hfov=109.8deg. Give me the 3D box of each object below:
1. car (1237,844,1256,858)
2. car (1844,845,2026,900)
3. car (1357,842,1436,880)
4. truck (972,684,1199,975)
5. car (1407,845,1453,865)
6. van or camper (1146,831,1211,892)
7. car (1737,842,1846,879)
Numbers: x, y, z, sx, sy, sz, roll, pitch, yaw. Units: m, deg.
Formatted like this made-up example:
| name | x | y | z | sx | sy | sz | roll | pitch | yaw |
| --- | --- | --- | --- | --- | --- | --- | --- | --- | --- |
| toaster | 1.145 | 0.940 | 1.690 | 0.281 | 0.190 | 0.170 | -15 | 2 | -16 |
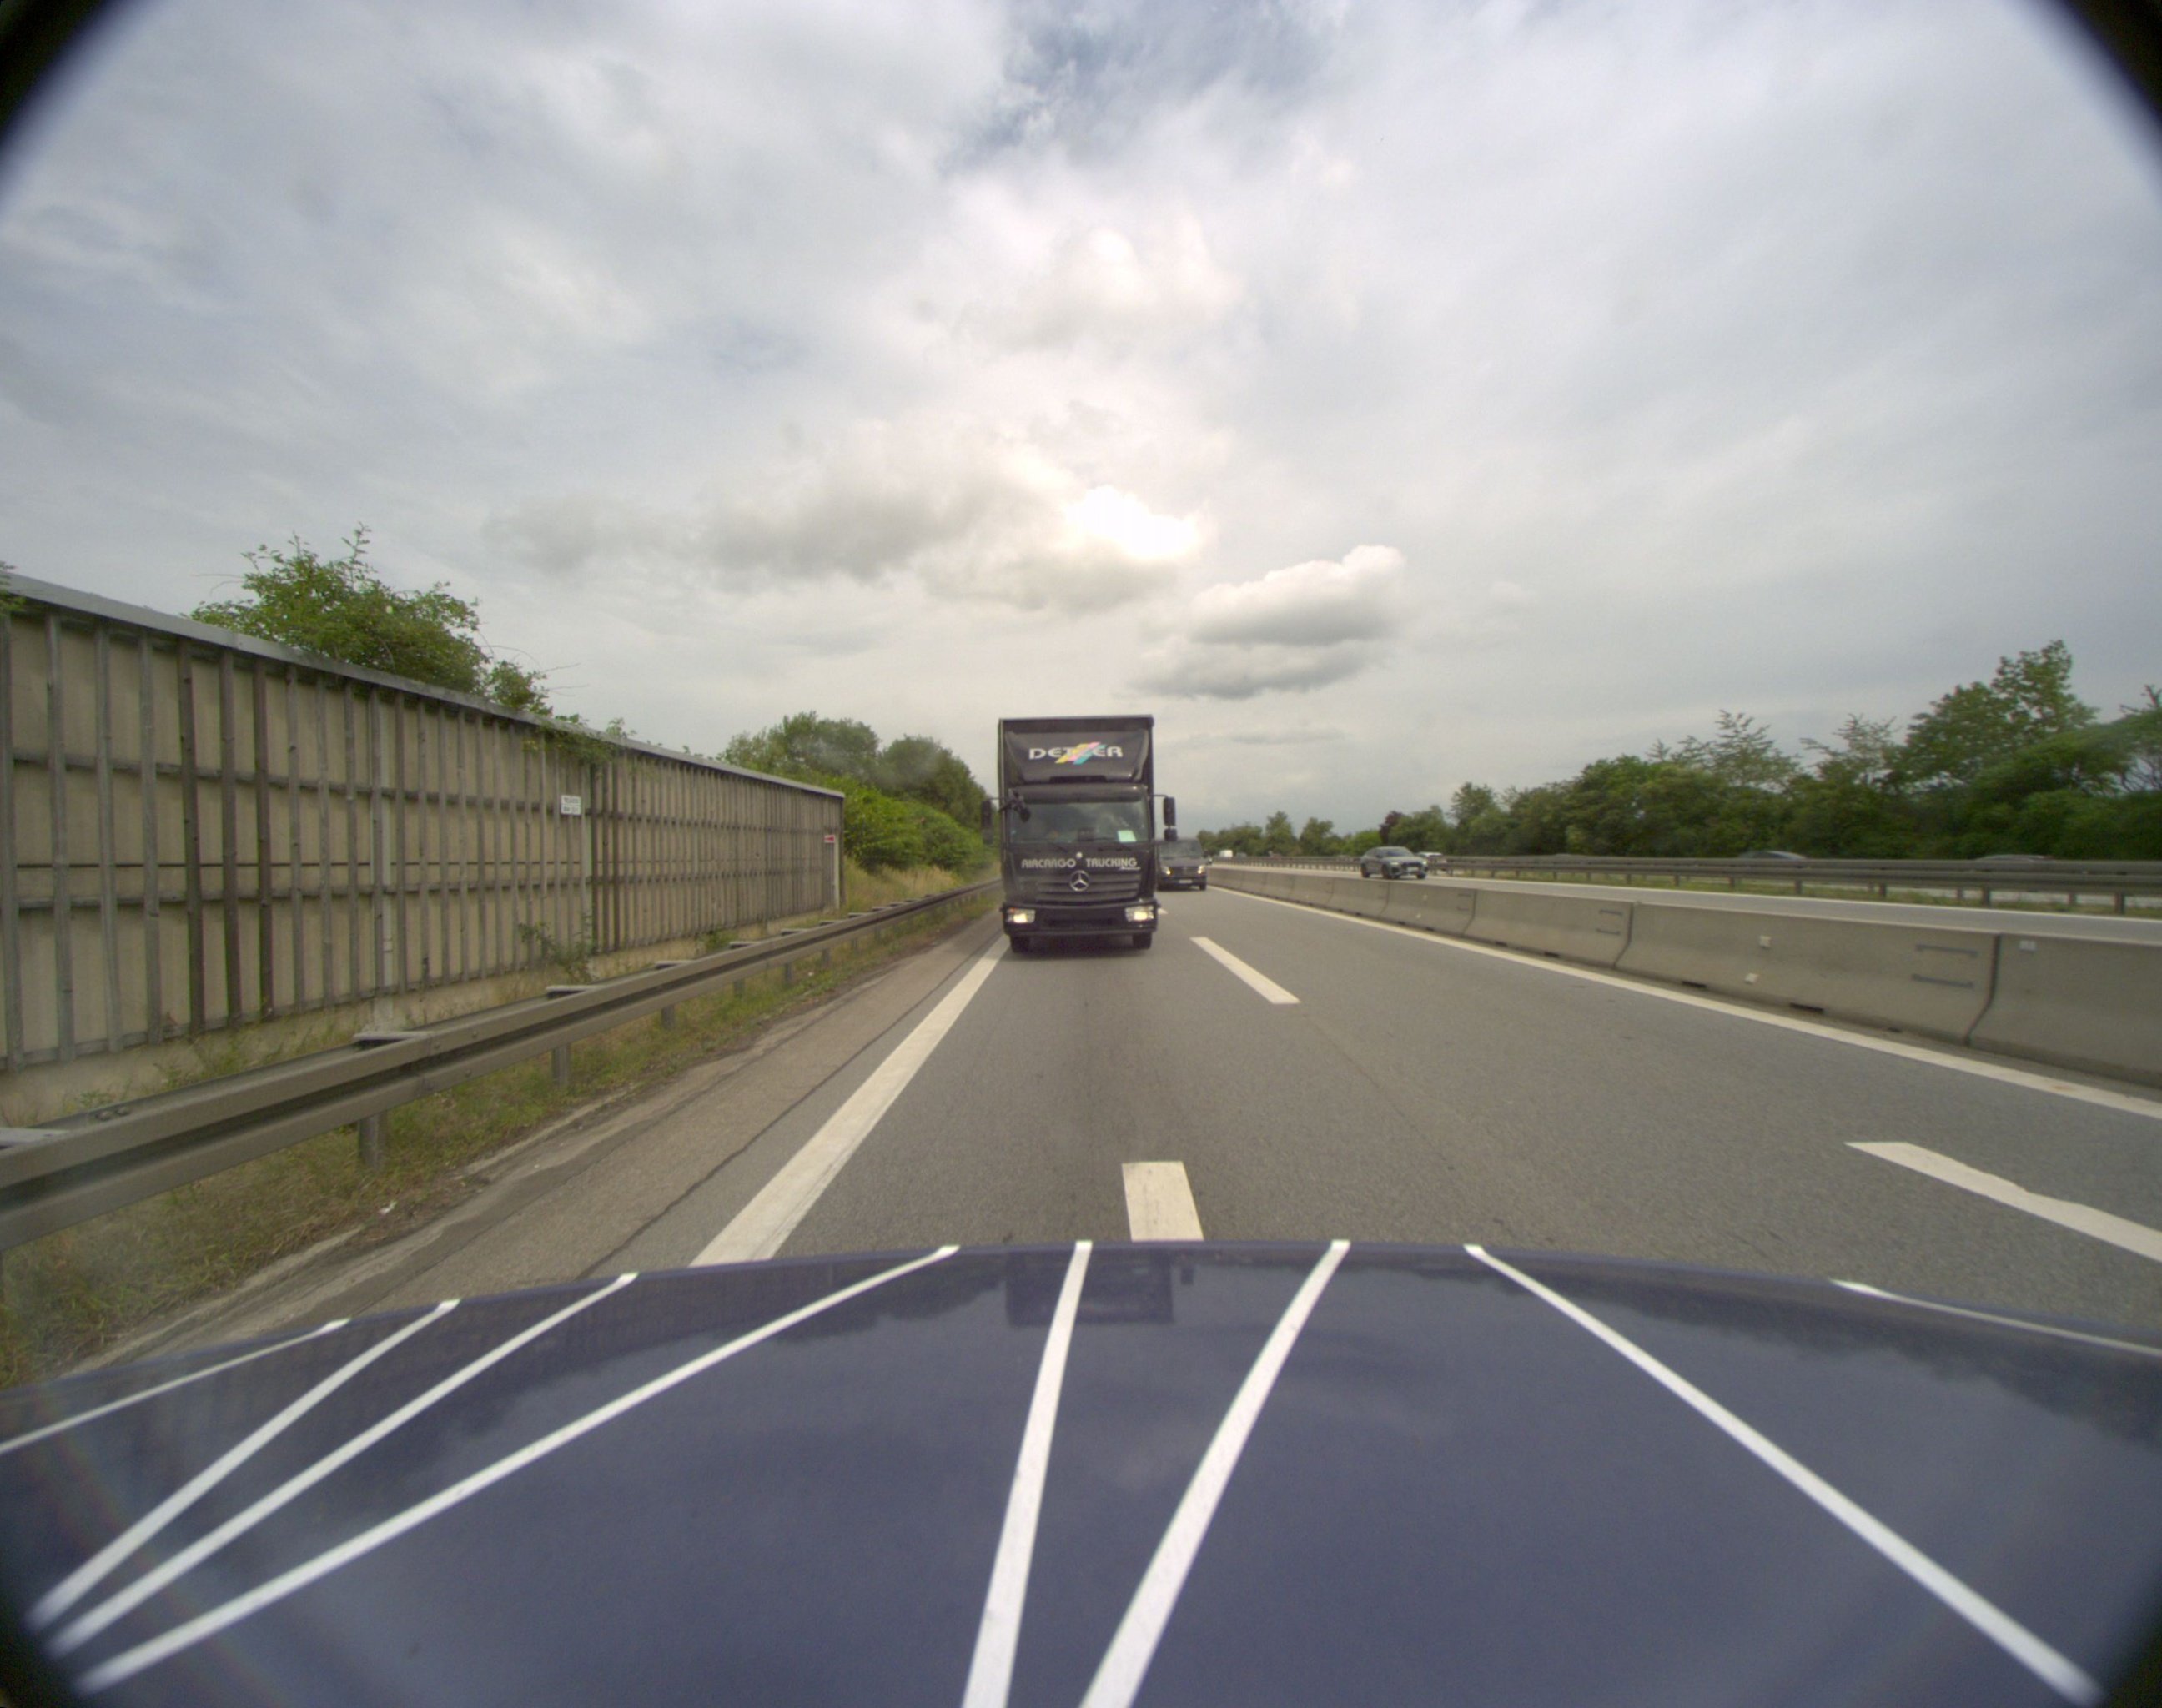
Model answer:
| name | x | y | z | sx | sy | sz | roll | pitch | yaw |
| --- | --- | --- | --- | --- | --- | --- | --- | --- | --- |
| car | 24.037 | -0.413 | 110.614 | 1.998 | 1.958 | 4.000 | -1 | 0 | 2 |
| car | 29.310 | 0.590 | 26.279 | 1.692 | 1.718 | 3.998 | -1 | 0 | -3 |
| car | 15.130 | 0.304 | 36.757 | 1.906 | 1.630 | 4.644 | -2 | 0 | 1 |
| truck | -0.173 | -0.359 | 15.632 | 3.025 | 3.931 | 10.337 | -2 | 0 | -3 |
| car | 27.597 | 0.091 | 60.161 | 1.737 | 1.511 | 3.718 | -1 | 0 | -3 |
| van or camper | 4.102 | 0.295 | 32.923 | 2.004 | 2.357 | 6.126 | -1 | 0 | 0 |
| car | 35.513 | 0.289 | 38.130 | 1.691 | 1.718 | 3.999 | -1 | 0 | -1 |
